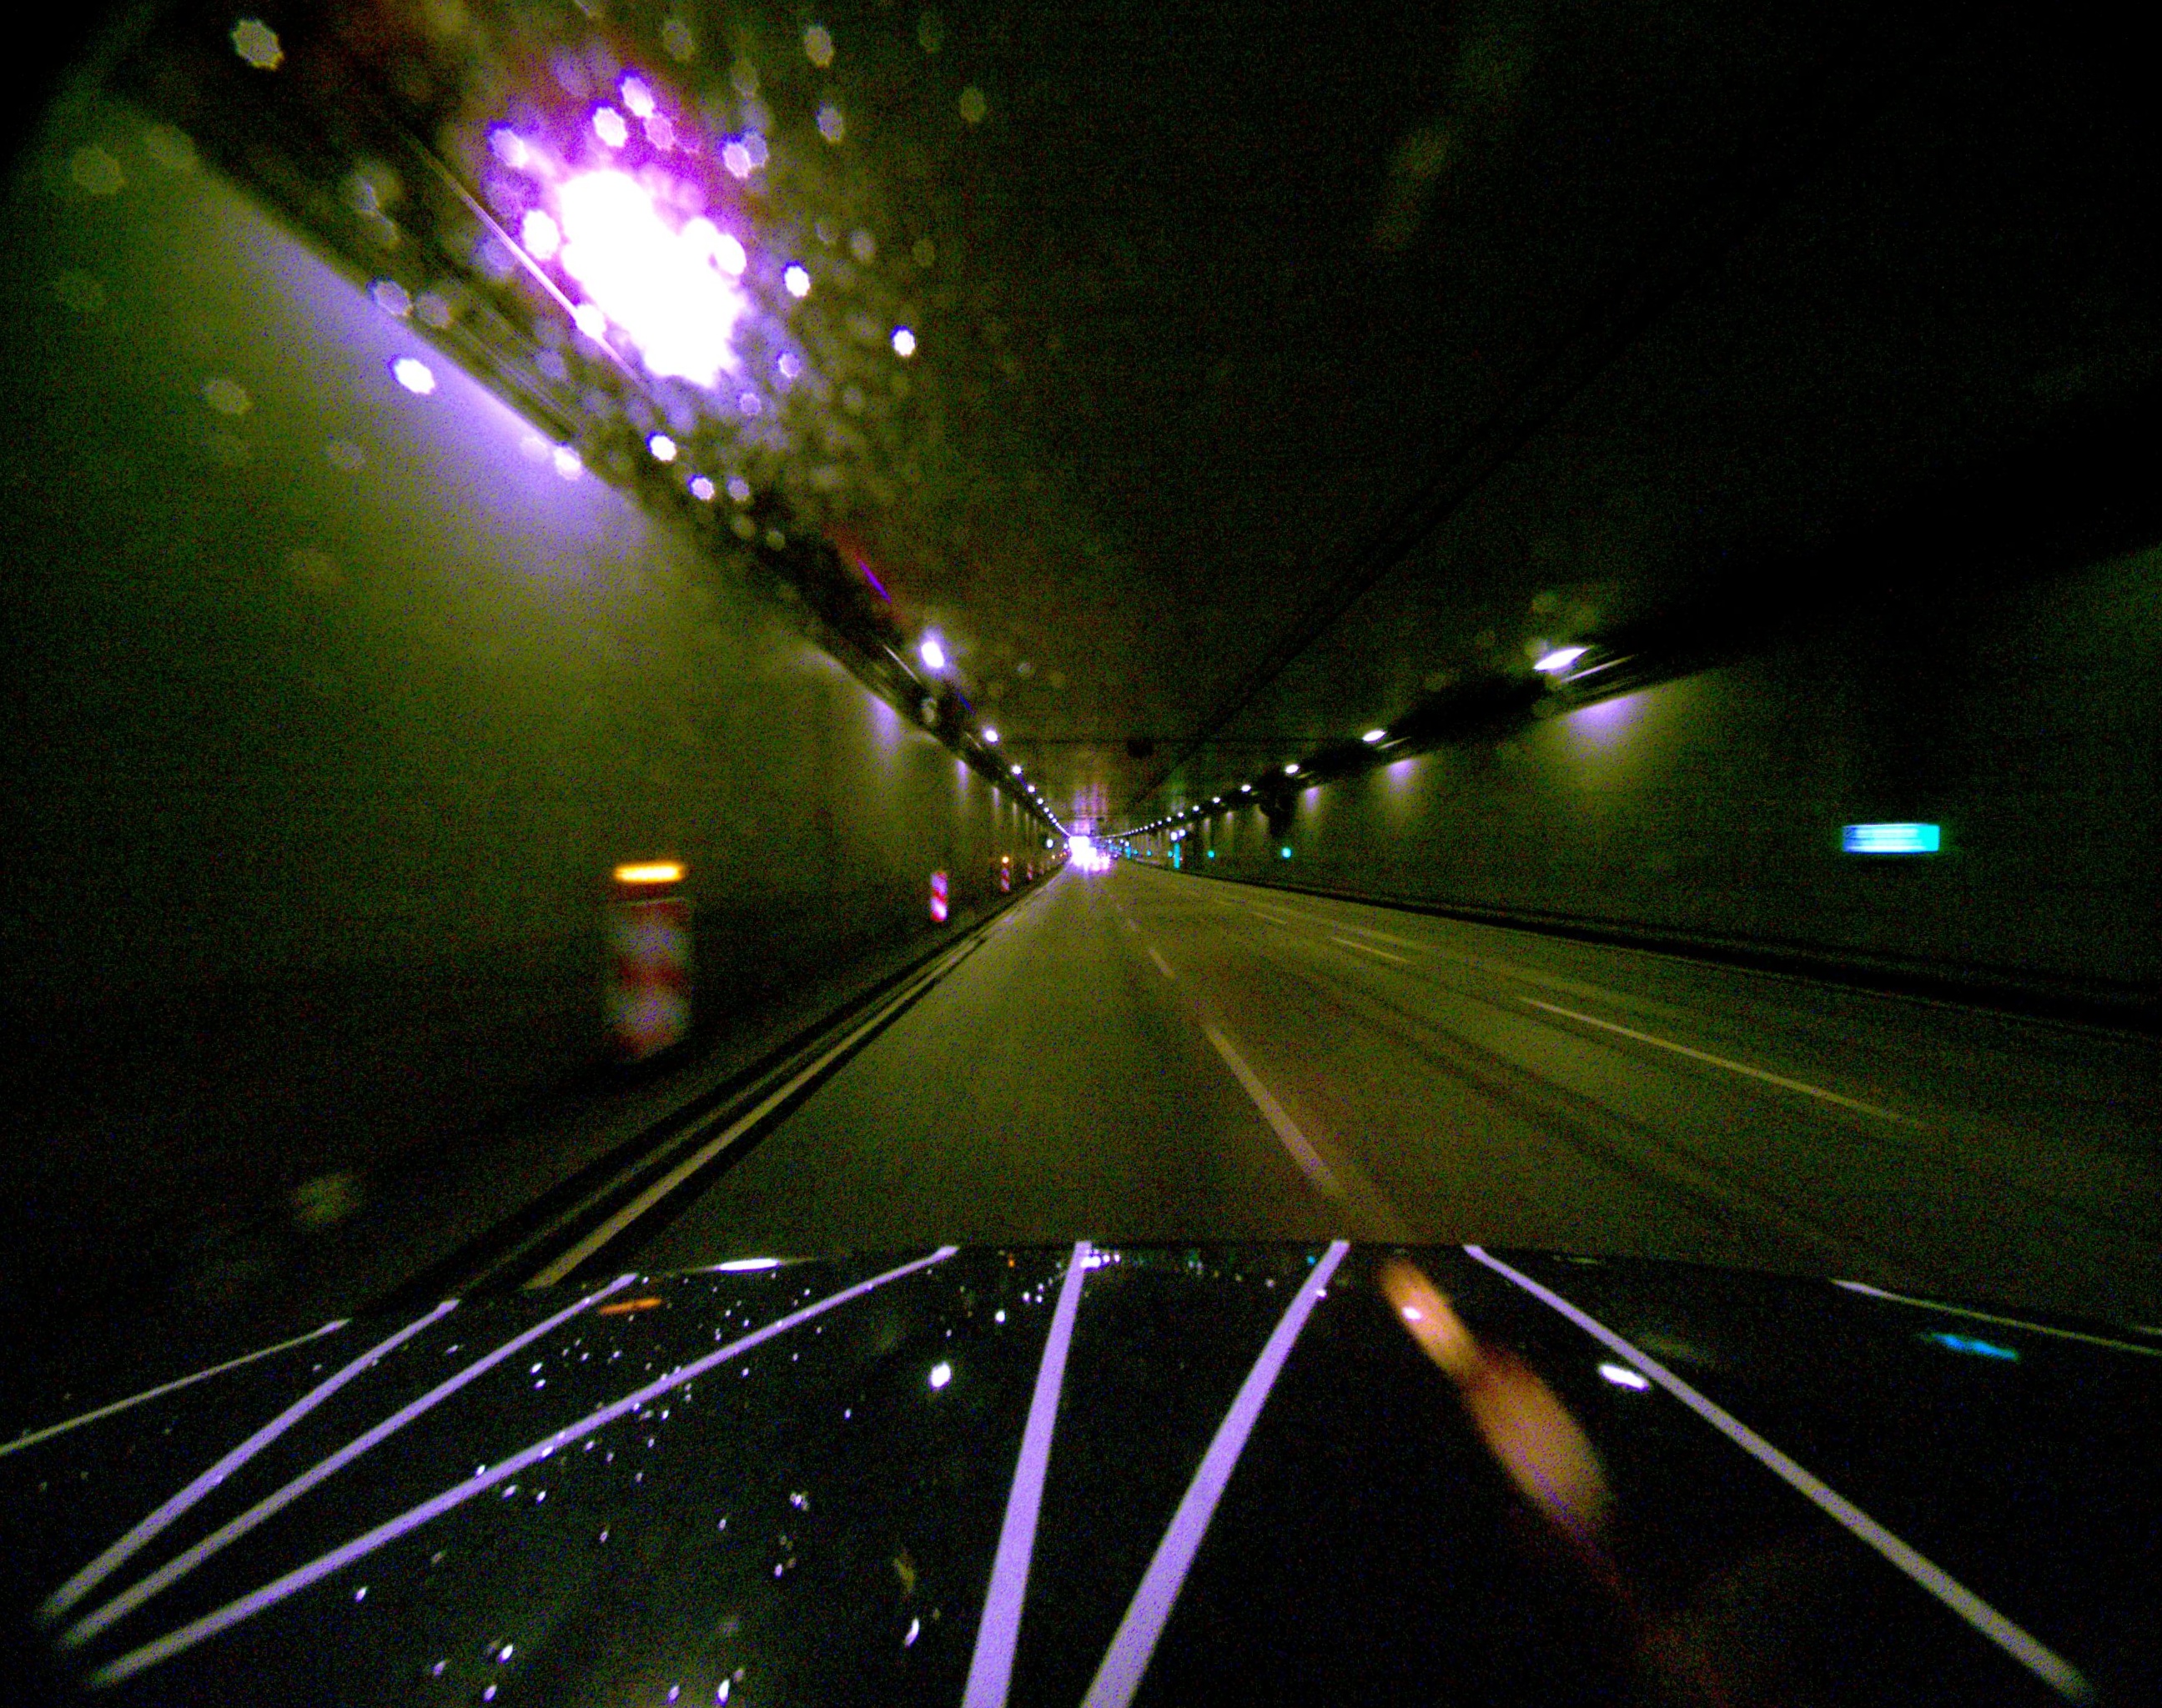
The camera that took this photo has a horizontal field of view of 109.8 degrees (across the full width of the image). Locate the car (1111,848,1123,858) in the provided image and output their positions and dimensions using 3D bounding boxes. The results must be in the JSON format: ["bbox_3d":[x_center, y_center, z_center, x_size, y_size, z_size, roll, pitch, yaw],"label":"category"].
[{"bbox_3d":[6.536,-0.166,137.842,1.998,1.686,4.000,-2,0,0],"label":"car"}]

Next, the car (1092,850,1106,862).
[{"bbox_3d":[2.655,0.316,112.226,1.998,1.685,4.000,-1,0,1],"label":"car"}]

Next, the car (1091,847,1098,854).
[{"bbox_3d":[3.885,-1.043,217.580,1.998,1.756,3.999,1,1,1],"label":"car"}]

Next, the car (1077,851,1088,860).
[{"bbox_3d":[0.272,0.306,144.366,1.998,1.686,3.999,1,1,1],"label":"car"}]
